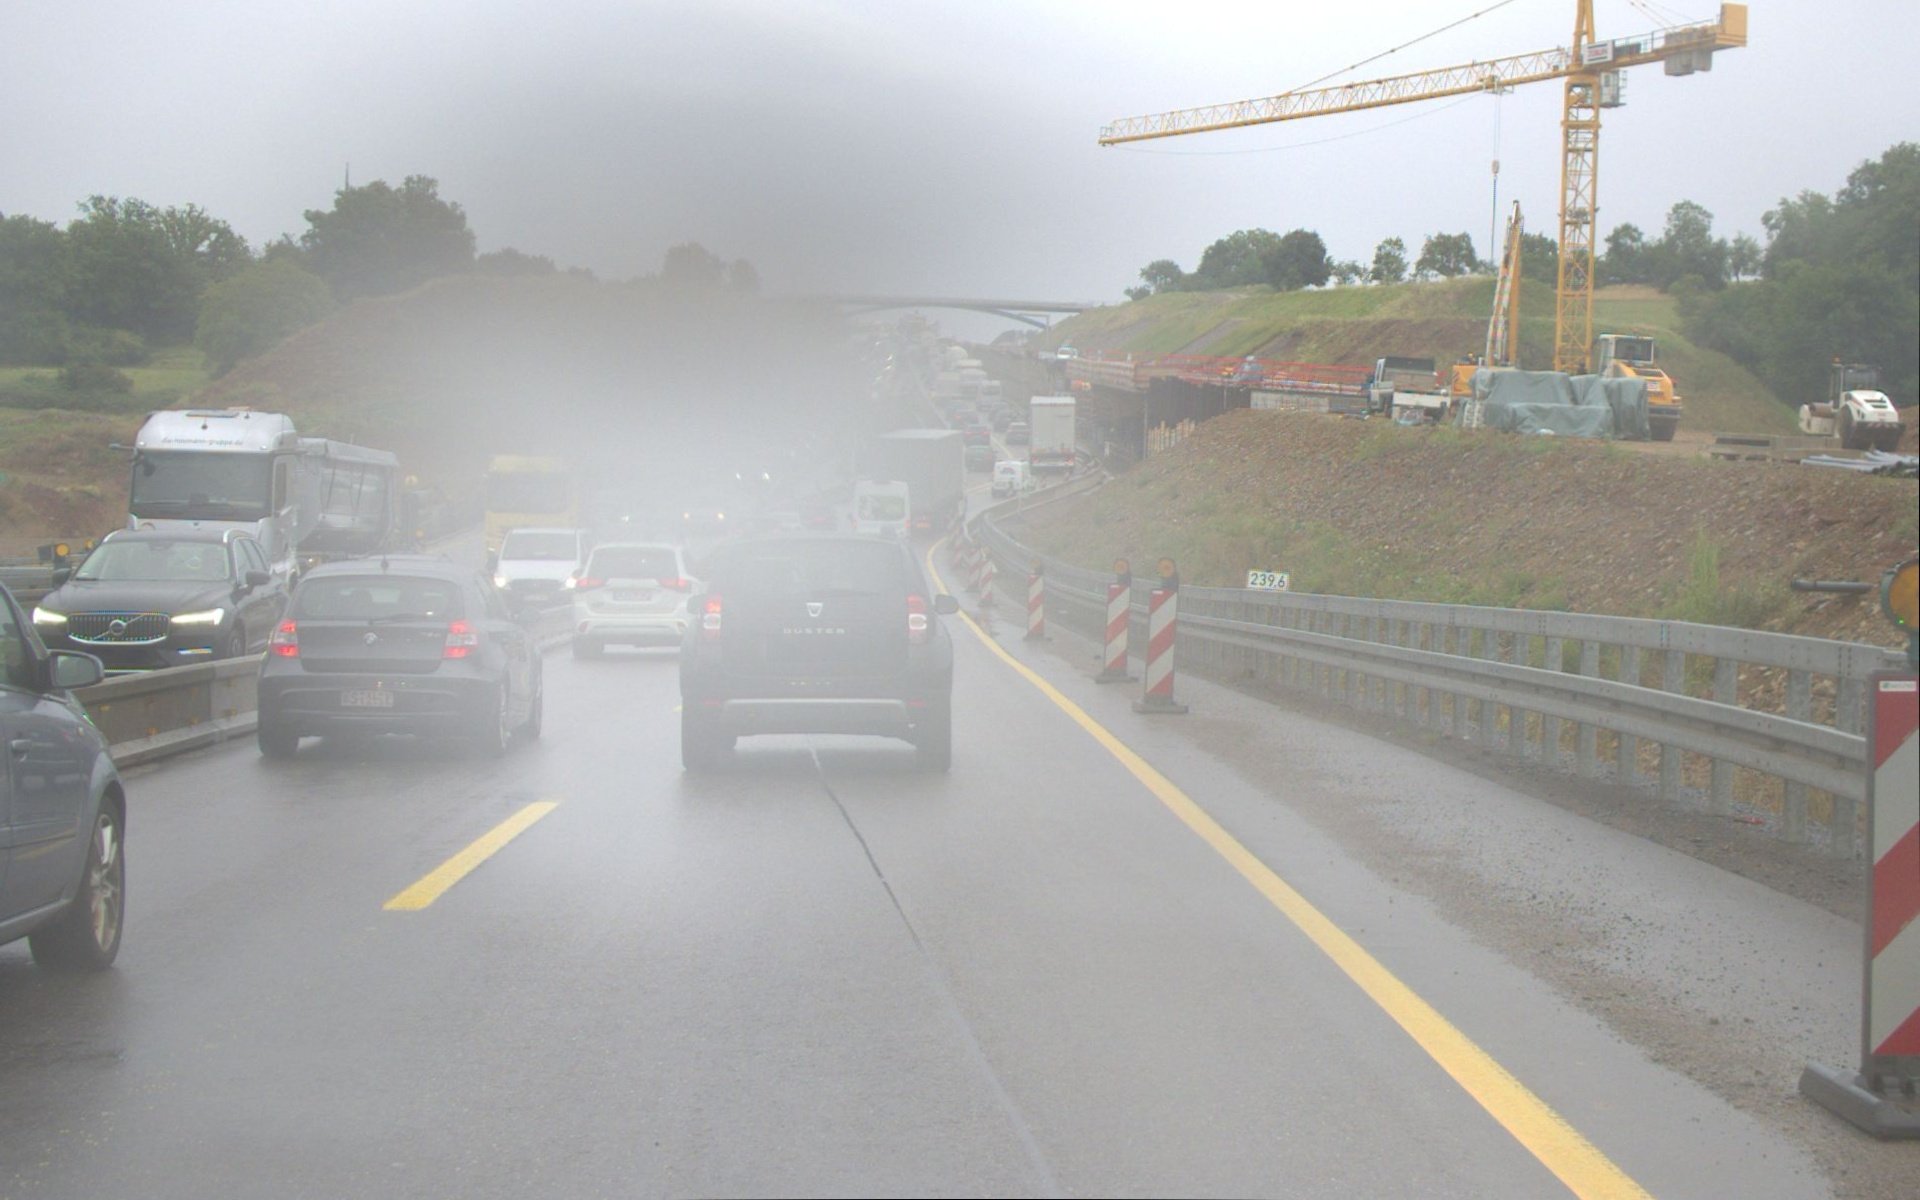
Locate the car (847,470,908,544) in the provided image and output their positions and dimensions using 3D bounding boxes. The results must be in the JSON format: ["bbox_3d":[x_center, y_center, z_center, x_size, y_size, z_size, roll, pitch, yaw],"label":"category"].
[{"bbox_3d":[-2.833,-3.192,119.005,1.993,2.475,4.982,1,1,0],"label":"car"}]

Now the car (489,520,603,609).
[{"bbox_3d":[-8.652,-0.763,72.191,1.874,1.786,5.360,0,1,-2],"label":"car"}]

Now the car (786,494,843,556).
[{"bbox_3d":[-5.260,-2.710,124.407,1.993,2.155,4.141,1,1,-2],"label":"car"}]

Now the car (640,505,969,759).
[{"bbox_3d":[-1.021,0.171,24.065,2.081,1.595,4.141,1,1,-1],"label":"car"}]

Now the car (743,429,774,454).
[{"bbox_3d":[-12.963,-10.172,221.315,1.786,1.533,4.312,0,2,-2],"label":"car"}]

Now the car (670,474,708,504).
[{"bbox_3d":[-14.200,-5.841,180.523,1.787,1.541,4.001,1,2,-2],"label":"car"}]

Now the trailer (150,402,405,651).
[{"bbox_3d":[-11.686,-1.263,59.810,2.686,3.950,9.820,0,1,-1],"label":"trailer"}]

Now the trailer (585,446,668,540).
[{"bbox_3d":[-13.667,-4.357,141.668,2.620,3.665,12.005,1,1,-2],"label":"trailer"}]

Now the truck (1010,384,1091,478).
[{"bbox_3d":[5.201,-9.770,200.440,3.803,5.025,12.923,1,1,-2],"label":"truck"}]

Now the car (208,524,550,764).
[{"bbox_3d":[-4.182,0.263,25.356,1.993,1.595,4.141,1,1,-3],"label":"car"}]

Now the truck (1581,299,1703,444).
[{"bbox_3d":[21.270,-7.071,107.472,2.373,4.203,5.980,1,1,-2],"label":"truck"}]

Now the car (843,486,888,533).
[{"bbox_3d":[-4.383,-4.205,160.117,1.993,2.155,4.141,1,1,-1],"label":"car"}]

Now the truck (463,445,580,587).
[{"bbox_3d":[-12.943,-2.477,101.916,2.749,4.048,6.148,1,1,-1],"label":"truck"}]

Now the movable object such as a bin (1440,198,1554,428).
[{"bbox_3d":[27.026,-14.217,172.538,4.721,10.804,10.298,1,1,13],"label":"movable object such as a bin"}]

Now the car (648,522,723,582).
[{"bbox_3d":[-8.297,-1.473,104.335,1.993,1.753,4.688,1,1,-1],"label":"car"}]

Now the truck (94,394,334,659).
[{"bbox_3d":[-11.530,-1.134,53.550,2.686,3.913,5.274,0,1,-1],"label":"truck"}]

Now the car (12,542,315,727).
[{"bbox_3d":[-7.672,0.277,33.532,1.993,1.649,4.470,-1,1,-1],"label":"car"}]

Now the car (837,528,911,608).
[{"bbox_3d":[-2.399,-0.919,96.734,1.993,2.155,4.141,1,1,0],"label":"car"}]

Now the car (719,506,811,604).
[{"bbox_3d":[-4.518,-1.046,79.198,1.993,2.155,4.141,1,1,-5],"label":"car"}]

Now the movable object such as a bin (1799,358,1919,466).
[{"bbox_3d":[32.191,-6.674,122.786,2.340,3.587,6.562,1,1,-4],"label":"movable object such as a bin"}]

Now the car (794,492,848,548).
[{"bbox_3d":[-5.443,-3.137,135.238,1.993,2.155,4.141,1,1,-1],"label":"car"}]

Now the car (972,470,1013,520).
[{"bbox_3d":[1.625,-5.314,174.843,1.993,2.475,4.741,1,1,0],"label":"car"}]

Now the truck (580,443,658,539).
[{"bbox_3d":[-13.446,-4.275,135.937,2.620,3.665,6.596,1,1,-2],"label":"truck"}]

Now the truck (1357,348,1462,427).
[{"bbox_3d":[16.370,-7.708,125.503,2.645,2.546,6.985,1,1,-2],"label":"truck"}]

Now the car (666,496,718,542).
[{"bbox_3d":[-10.880,-3.286,139.740,1.865,1.794,4.163,1,1,-2],"label":"car"}]

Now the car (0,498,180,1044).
[{"bbox_3d":[-3.796,0.481,10.338,1.993,1.595,4.141,1,1,-1],"label":"car"}]

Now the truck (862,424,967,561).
[{"bbox_3d":[-1.813,-4.383,142.223,3.102,5.407,9.441,1,1,6],"label":"truck"}]

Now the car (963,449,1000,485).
[{"bbox_3d":[1.245,-7.709,198.693,1.993,2.006,4.001,0,3,-2],"label":"car"}]

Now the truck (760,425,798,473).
[{"bbox_3d":[-10.508,-8.764,199.845,2.078,2.567,5.963,1,1,-2],"label":"truck"}]

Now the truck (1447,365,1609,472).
[{"bbox_3d":[17.088,-5.413,104.022,3.395,2.865,8.960,1,1,0],"label":"truck"}]

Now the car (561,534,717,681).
[{"bbox_3d":[-4.582,0.064,49.517,1.993,2.007,3.894,1,1,-2],"label":"car"}]
